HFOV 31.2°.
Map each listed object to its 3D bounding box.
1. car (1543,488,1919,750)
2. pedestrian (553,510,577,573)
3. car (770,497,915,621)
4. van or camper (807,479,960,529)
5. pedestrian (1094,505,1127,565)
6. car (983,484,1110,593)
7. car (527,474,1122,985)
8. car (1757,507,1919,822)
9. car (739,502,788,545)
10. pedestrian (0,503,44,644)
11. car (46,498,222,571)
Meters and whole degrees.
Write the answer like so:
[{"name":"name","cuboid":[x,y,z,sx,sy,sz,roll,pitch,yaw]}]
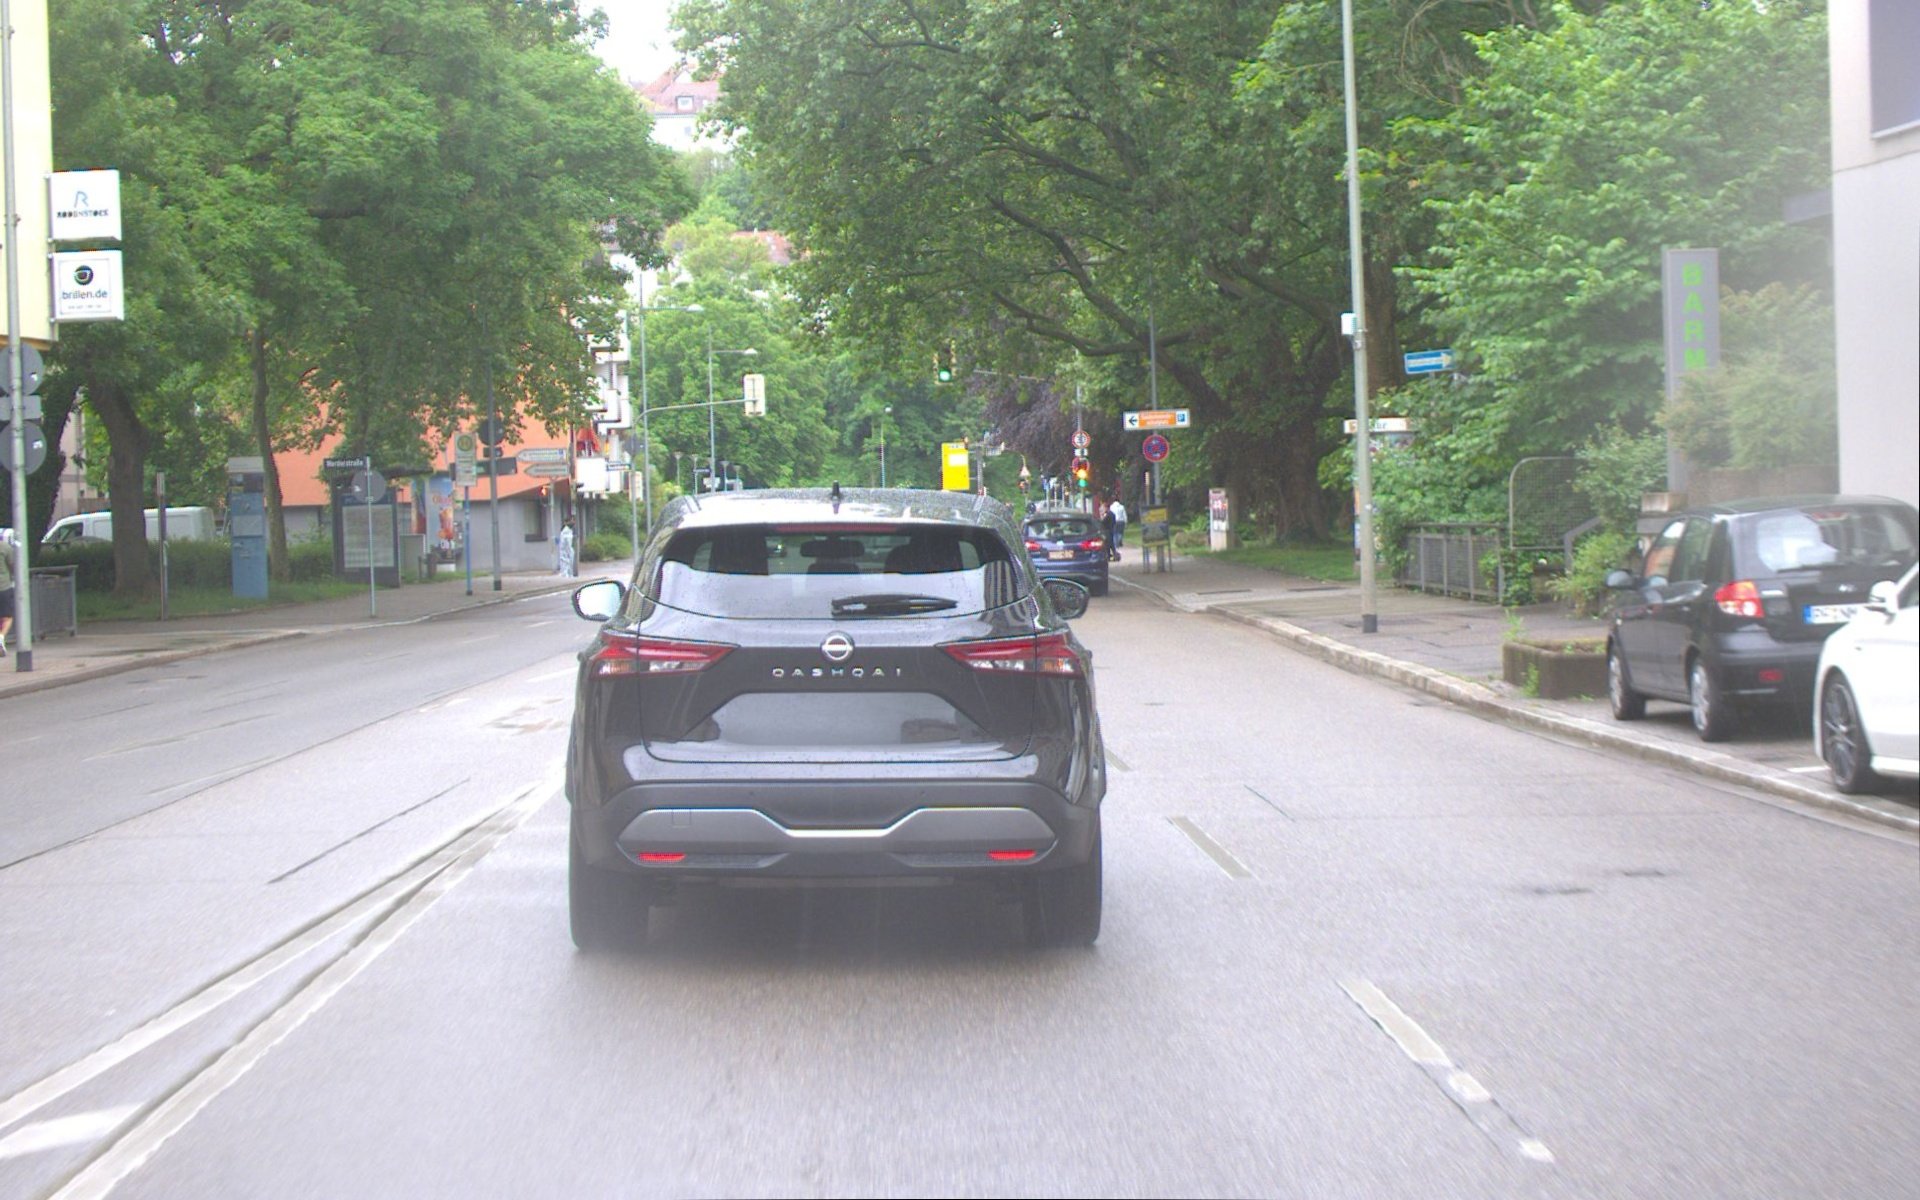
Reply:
[{"name":"car","cuboid":[5.023,0.058,22.238,1.714,1.437,4.082,-4,1,0]},{"name":"pedestrian","cuboid":[-11.294,-1.673,98.232,0.666,1.785,0.722,0,2,-8]},{"name":"car","cuboid":[-1.734,-0.619,52.074,1.946,1.679,4.000,-4,1,0]},{"name":"van or camper","cuboid":[-5.545,-6.924,248.434,10.929,3.545,3.185,0,2,-2]},{"name":"pedestrian","cuboid":[4.433,-1.919,101.294,0.667,1.785,0.721,-1,2,-42]},{"name":"car","cuboid":[1.546,-1.099,62.874,1.945,1.810,4.000,-4,1,-2]},{"name":"car","cuboid":[-0.554,0.348,12.961,1.894,1.623,4.001,0,2,-4]},{"name":"car","cuboid":[5.213,0.259,15.649,1.774,1.396,4.581,-4,1,-4]},{"name":"car","cuboid":[-8.305,-3.267,145.527,1.821,1.790,3.866,0,2,0]},{"name":"pedestrian","cuboid":[-11.668,-0.318,41.801,0.798,1.682,0.817,-2,1,-2]},{"name":"car","cuboid":[-19.847,-1.594,82.701,3.833,1.728,1.880,0,2,-2]}]
